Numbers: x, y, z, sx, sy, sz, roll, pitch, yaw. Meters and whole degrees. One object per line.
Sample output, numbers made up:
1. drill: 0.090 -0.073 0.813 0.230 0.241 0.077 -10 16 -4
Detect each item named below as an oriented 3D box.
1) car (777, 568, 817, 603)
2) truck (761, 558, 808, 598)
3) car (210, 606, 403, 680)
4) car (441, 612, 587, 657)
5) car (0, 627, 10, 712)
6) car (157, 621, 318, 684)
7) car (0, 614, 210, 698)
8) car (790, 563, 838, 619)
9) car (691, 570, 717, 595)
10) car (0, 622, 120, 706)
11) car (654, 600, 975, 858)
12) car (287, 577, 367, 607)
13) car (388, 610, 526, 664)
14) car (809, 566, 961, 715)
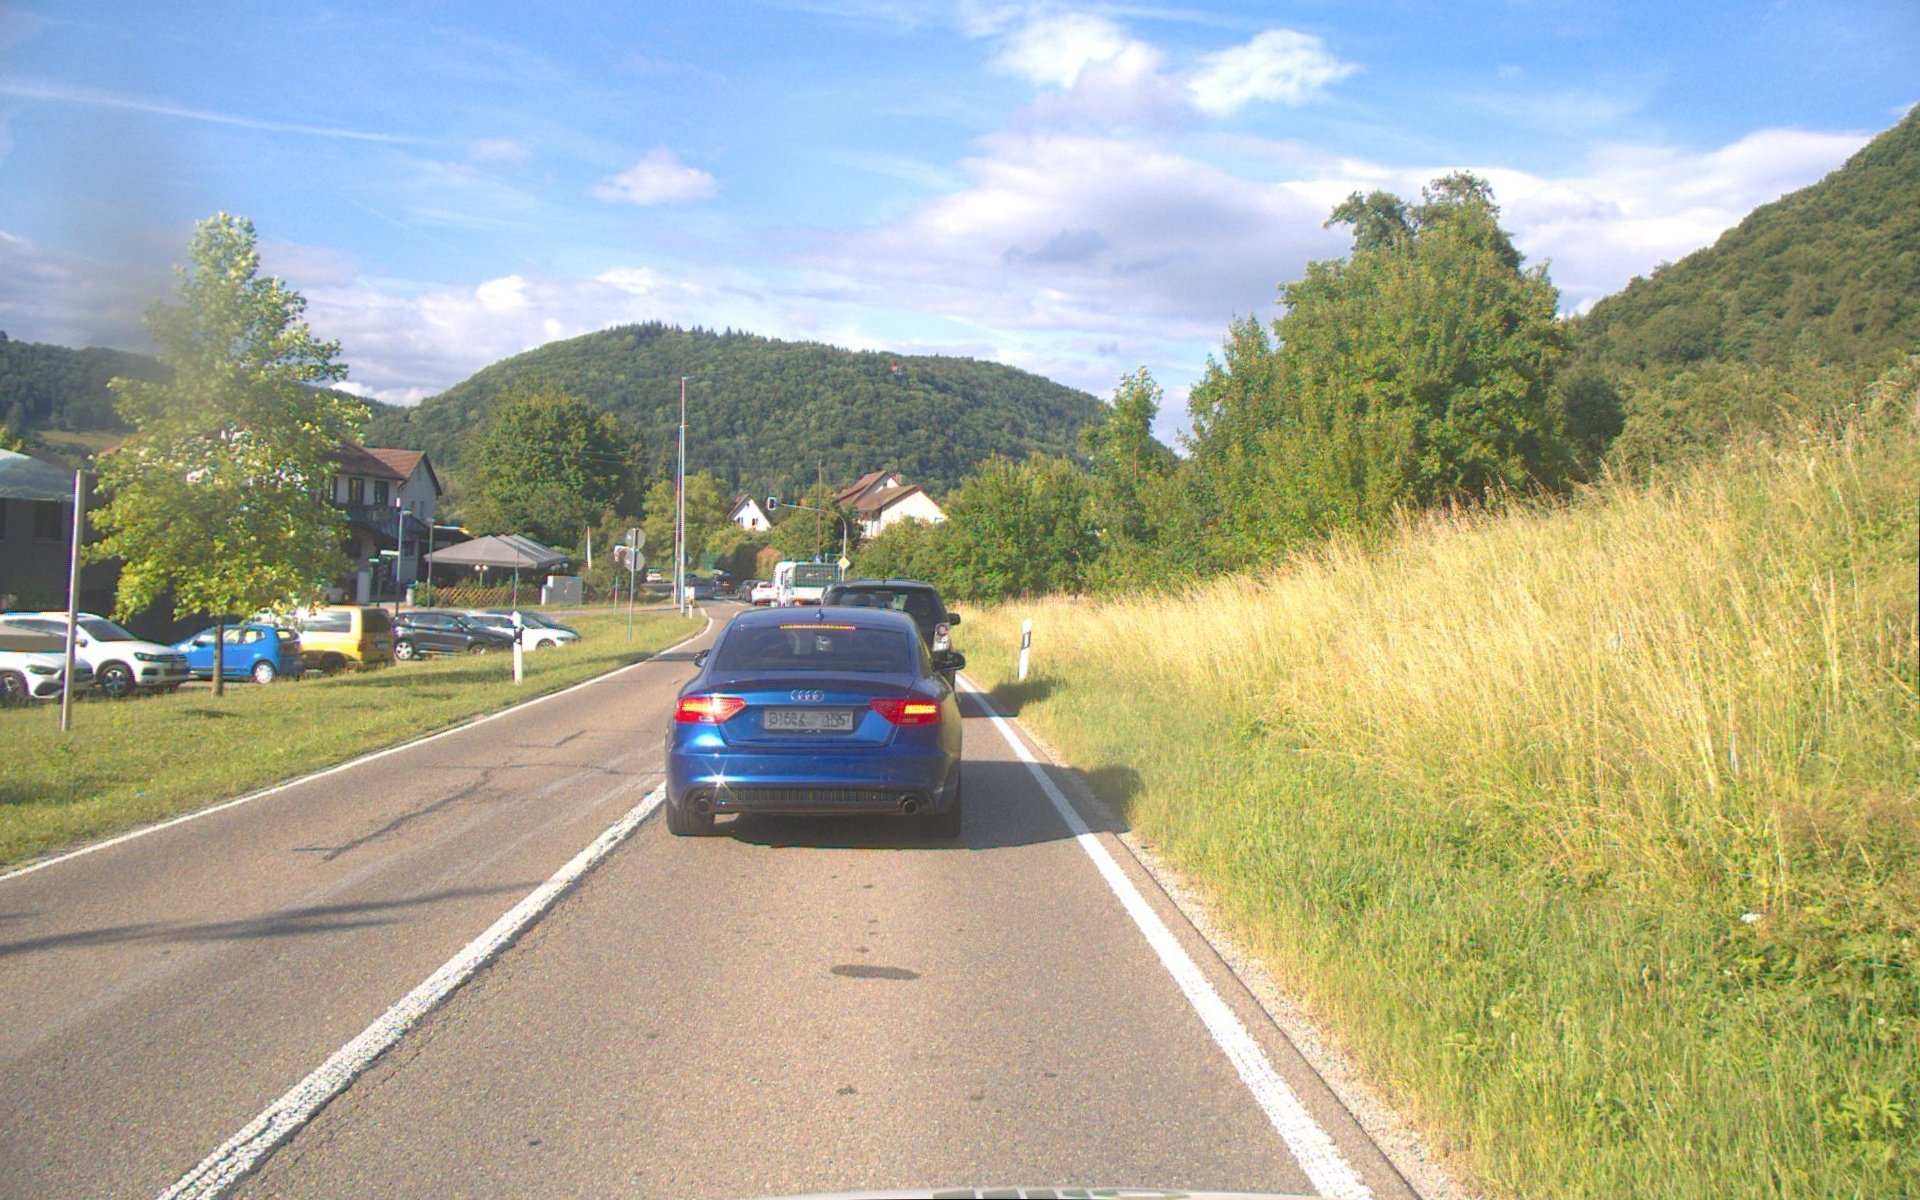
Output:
1. car: -8.042 -0.701 81.526 1.714 1.668 3.992 1 0 -9
2. truck: -9.264 -1.115 86.843 1.669 1.988 5.900 1 0 -14
3. car: -17.868 1.153 45.330 4.512 1.900 2.002 1 0 10
4. car: -16.103 1.241 59.861 4.711 1.520 1.882 1 0 7
5. car: -20.212 1.261 30.372 4.442 1.582 2.001 1 0 7
6. car: -18.639 1.342 42.743 3.420 1.498 1.634 1 0 5
7. car: -19.482 1.223 37.040 4.442 1.733 2.001 1 0 7
8. car: -6.137 -0.378 69.121 1.714 2.234 3.991 1 0 -9
9. car: -18.132 -1.207 117.189 1.703 1.691 3.462 1 0 -11
10. car: -19.816 1.247 33.663 4.442 1.582 2.001 1 0 7
11. car: -0.820 0.717 11.103 1.759 1.412 3.999 0 0 -1
12. car: -32.922 -0.405 86.097 1.727 1.467 4.001 1 0 19
13. car: -16.789 1.216 55.311 3.939 1.665 2.001 1 0 7
14. car: -0.877 0.472 20.881 1.710 1.668 3.999 1 0 -1
